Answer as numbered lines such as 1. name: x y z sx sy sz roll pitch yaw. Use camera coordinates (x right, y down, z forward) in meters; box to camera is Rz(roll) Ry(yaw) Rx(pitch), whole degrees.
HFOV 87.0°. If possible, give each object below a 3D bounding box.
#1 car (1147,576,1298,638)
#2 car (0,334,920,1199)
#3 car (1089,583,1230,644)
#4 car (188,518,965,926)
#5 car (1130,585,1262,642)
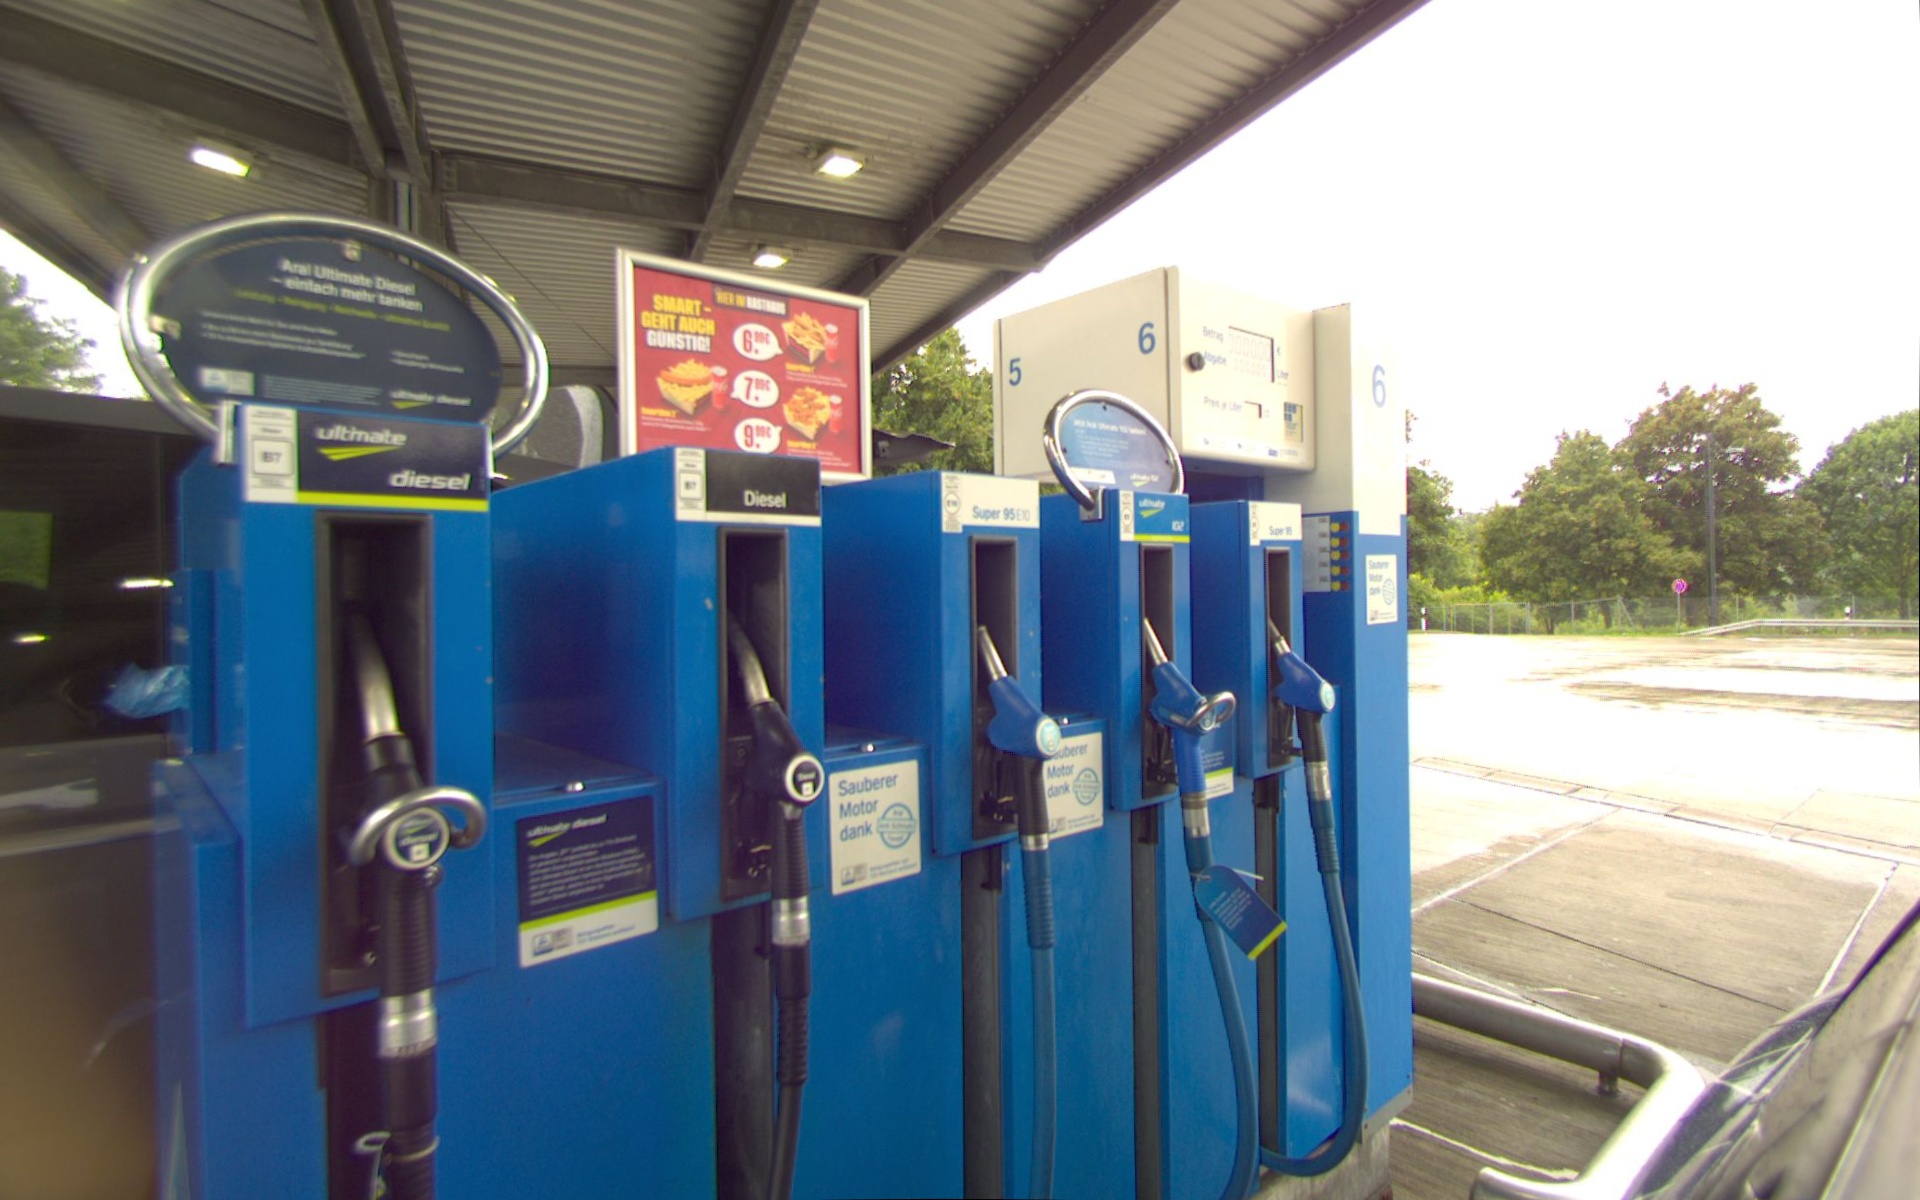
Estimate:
1. car: 8.871 0.206 34.495 4.817 1.974 2.306 1 1 14
2. car: -2.618 0.503 1.810 5.050 1.821 1.864 -1 0 -41
3. car: 5.855 0.373 29.722 3.941 1.680 1.593 1 0 14
4. car: -2.253 0.519 6.696 4.460 1.821 1.864 -1 0 -41
5. car: 7.409 0.385 31.912 3.941 1.680 1.593 1 0 14
